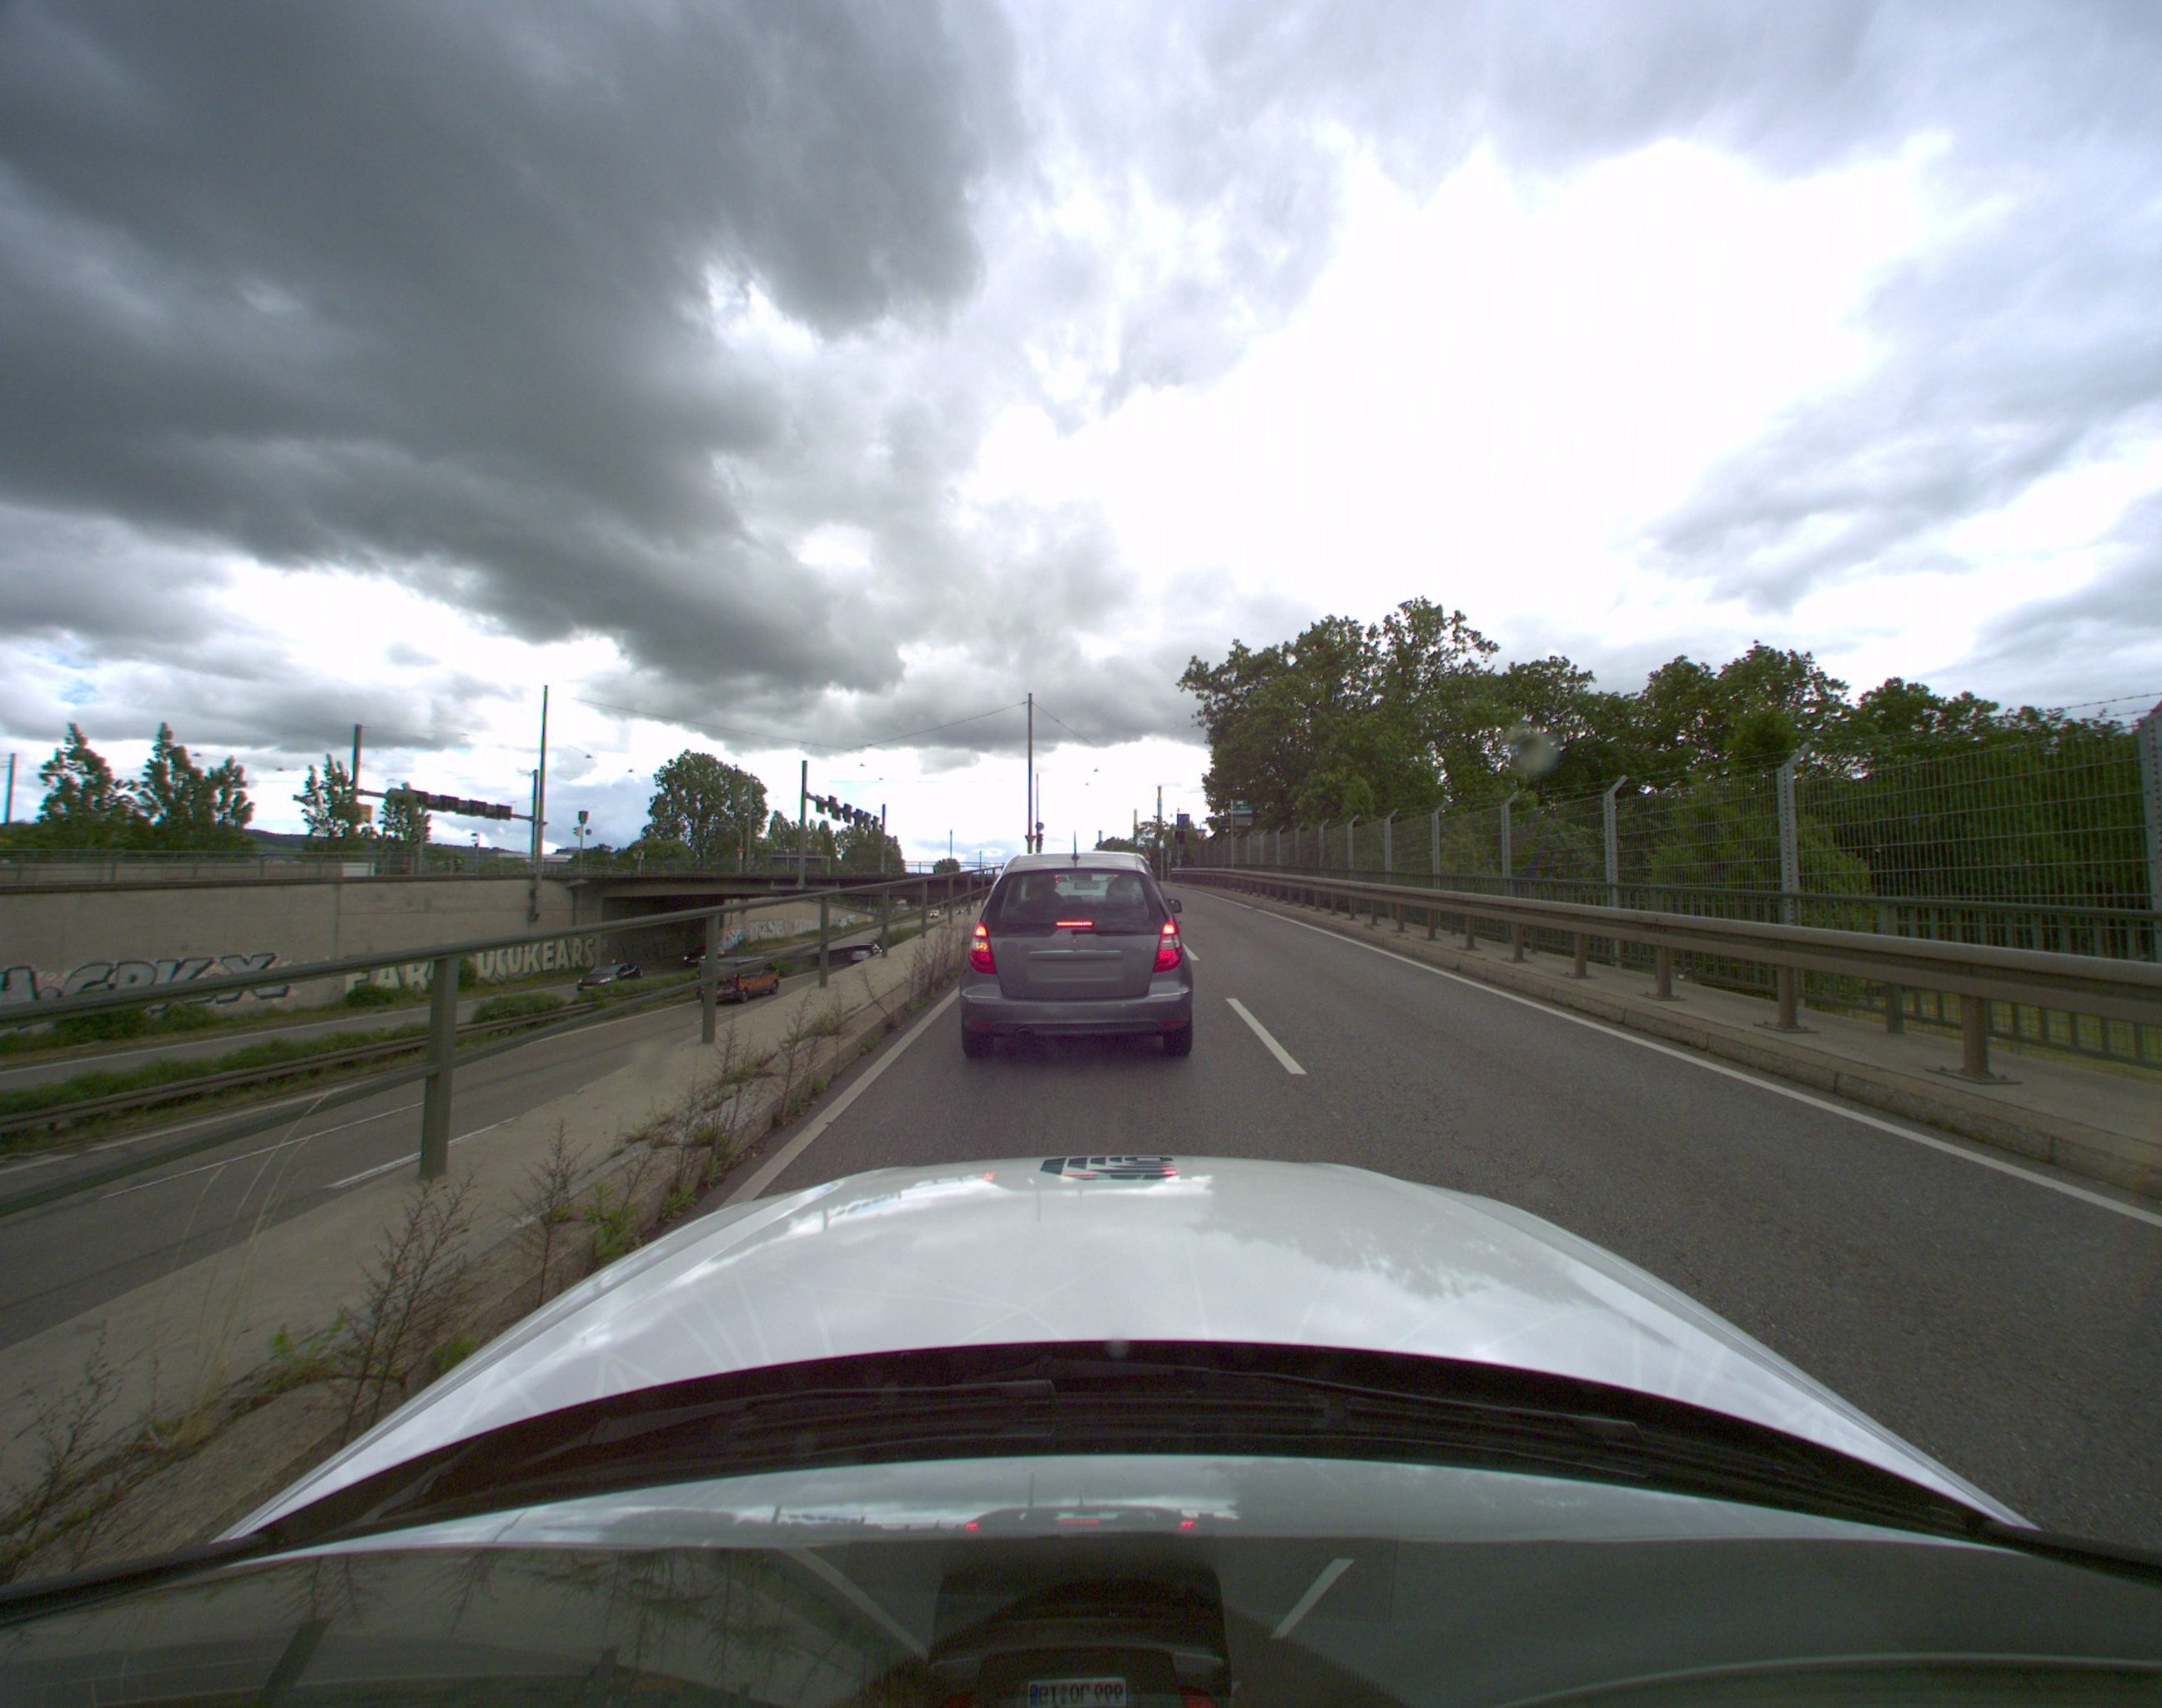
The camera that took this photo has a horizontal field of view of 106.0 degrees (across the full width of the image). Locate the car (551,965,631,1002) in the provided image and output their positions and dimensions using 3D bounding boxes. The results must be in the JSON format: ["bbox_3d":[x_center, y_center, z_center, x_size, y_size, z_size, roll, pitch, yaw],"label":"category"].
[{"bbox_3d":[-25.275,6.638,42.164,1.658,1.501,3.858,-2,-4,2],"label":"car"}]

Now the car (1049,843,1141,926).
[{"bbox_3d":[0.353,0.650,19.232,1.924,1.717,4.407,0,0,1],"label":"car"}]

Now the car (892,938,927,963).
[{"bbox_3d":[-12.866,7.233,61.322,1.893,1.622,4.174,0,-3,-2],"label":"car"}]

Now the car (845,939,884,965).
[{"bbox_3d":[-16.078,7.238,60.663,1.893,1.622,4.174,0,-3,-2],"label":"car"}]

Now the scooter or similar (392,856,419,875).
[{"bbox_3d":[-42.084,0.730,50.765,0.542,1.094,1.414,-1,-2,-4],"label":"scooter or similar"}]

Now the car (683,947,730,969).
[{"bbox_3d":[-28.991,8.046,63.137,1.705,1.376,4.110,-2,-4,1],"label":"car"}]

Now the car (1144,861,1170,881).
[{"bbox_3d":[6.513,1.424,69.075,1.821,1.576,4.358,-1,-1,10],"label":"car"}]

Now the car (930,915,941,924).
[{"bbox_3d":[-37.267,16.881,209.147,1.988,2.067,5.172,0,-3,-2],"label":"car"}]

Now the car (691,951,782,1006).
[{"bbox_3d":[-15.729,5.645,37.480,1.891,2.003,4.959,-1,-3,2],"label":"car"}]

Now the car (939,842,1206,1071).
[{"bbox_3d":[0.004,0.721,7.677,1.851,1.588,4.002,0,0,2],"label":"car"}]

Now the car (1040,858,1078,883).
[{"bbox_3d":[-1.759,1.241,63.432,1.998,1.870,4.189,0,-1,-17],"label":"car"}]
